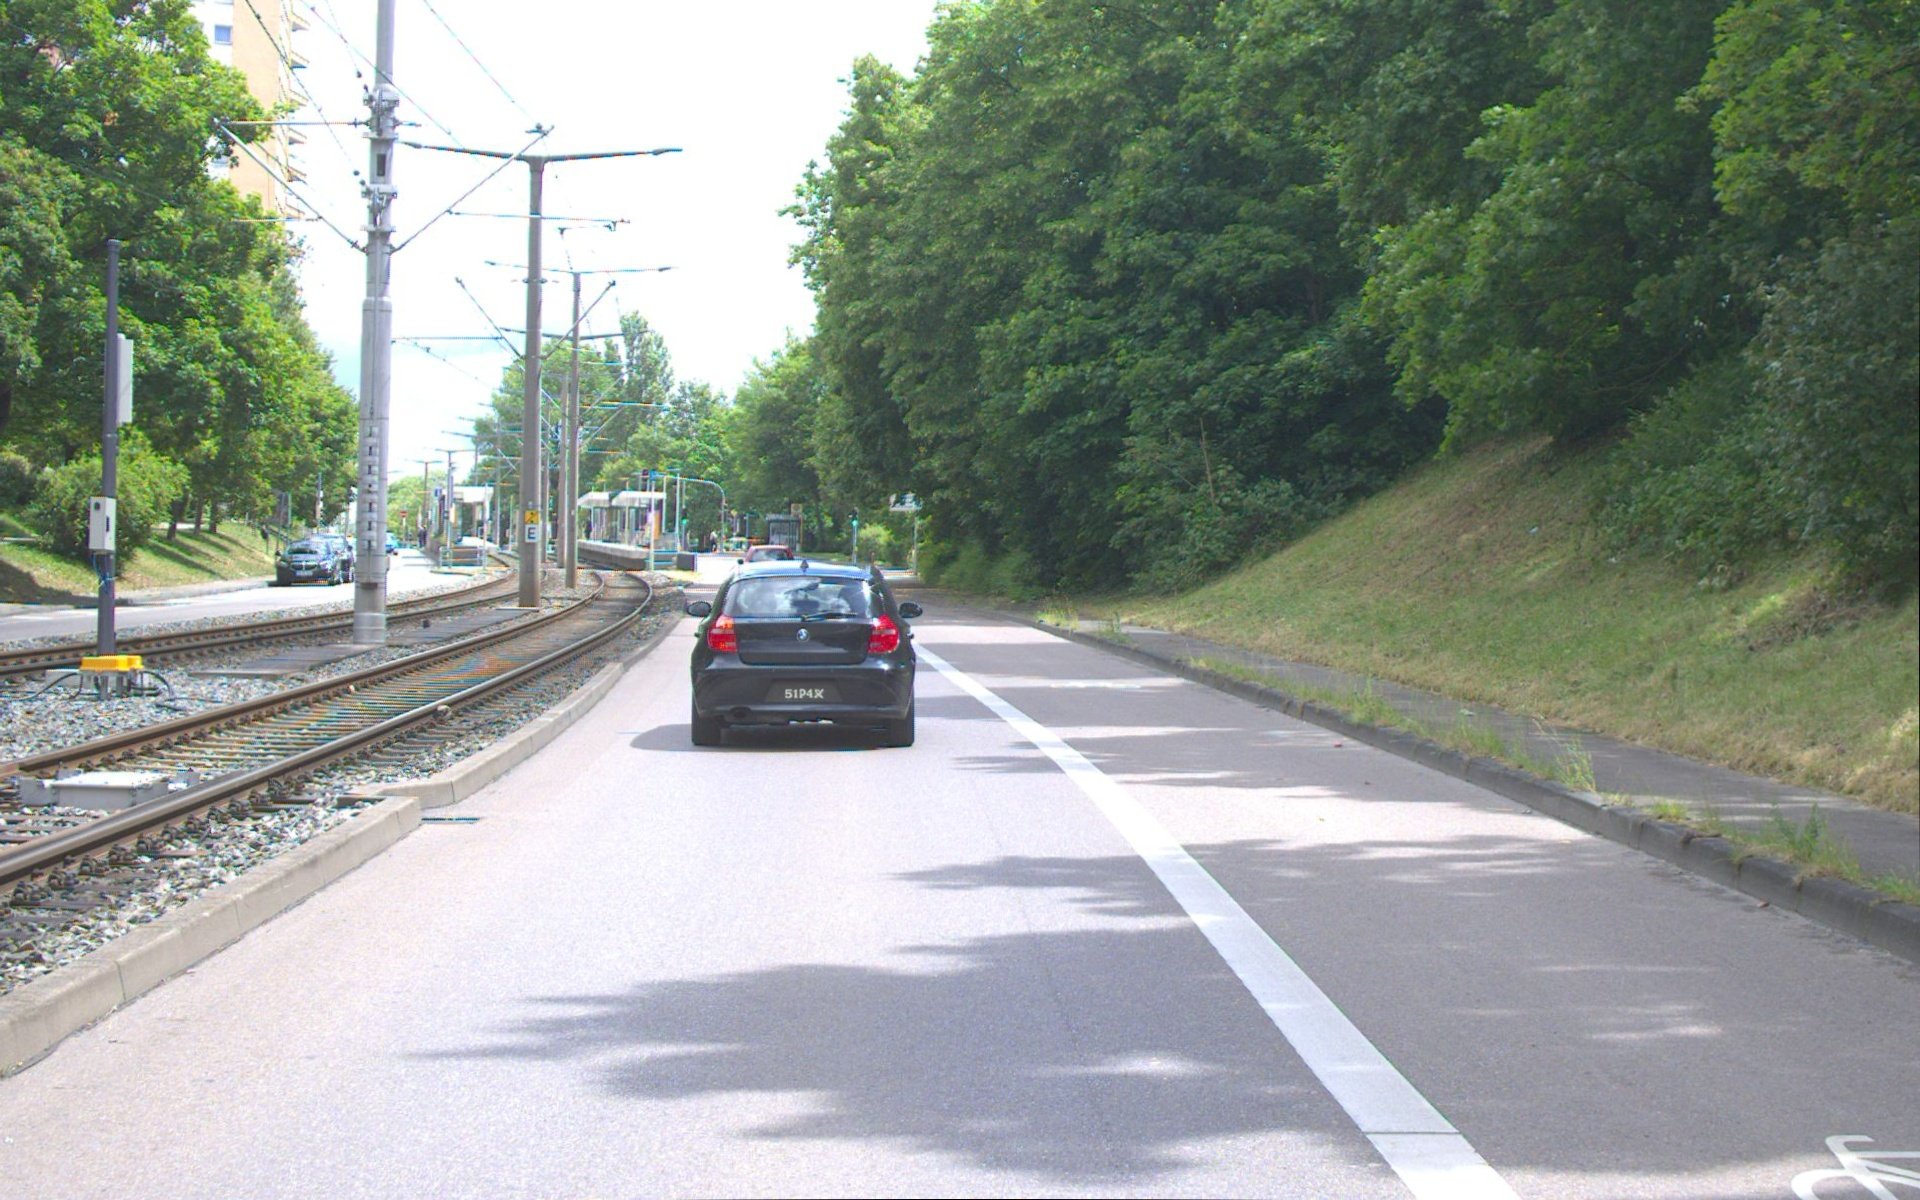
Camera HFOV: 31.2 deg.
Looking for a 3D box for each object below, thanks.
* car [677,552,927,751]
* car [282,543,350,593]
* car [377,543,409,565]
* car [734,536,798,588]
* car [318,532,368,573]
[{"bbox_3d":[-1.329,0.353,27.432,1.781,1.454,3.922,0,1,-6],"label":"car"},{"bbox_3d":[-19.995,-1.003,106.880,1.774,1.493,3.998,1,1,-6],"label":"car"},{"bbox_3d":[-37.172,-3.025,225.427,1.715,1.437,3.944,1,1,-14],"label":"car"},{"bbox_3d":[-5.641,-1.100,99.826,1.781,1.454,3.921,1,1,-3],"label":"car"},{"bbox_3d":[-23.402,-1.798,130.470,1.781,1.527,4.246,0,1,-9],"label":"car"}]
